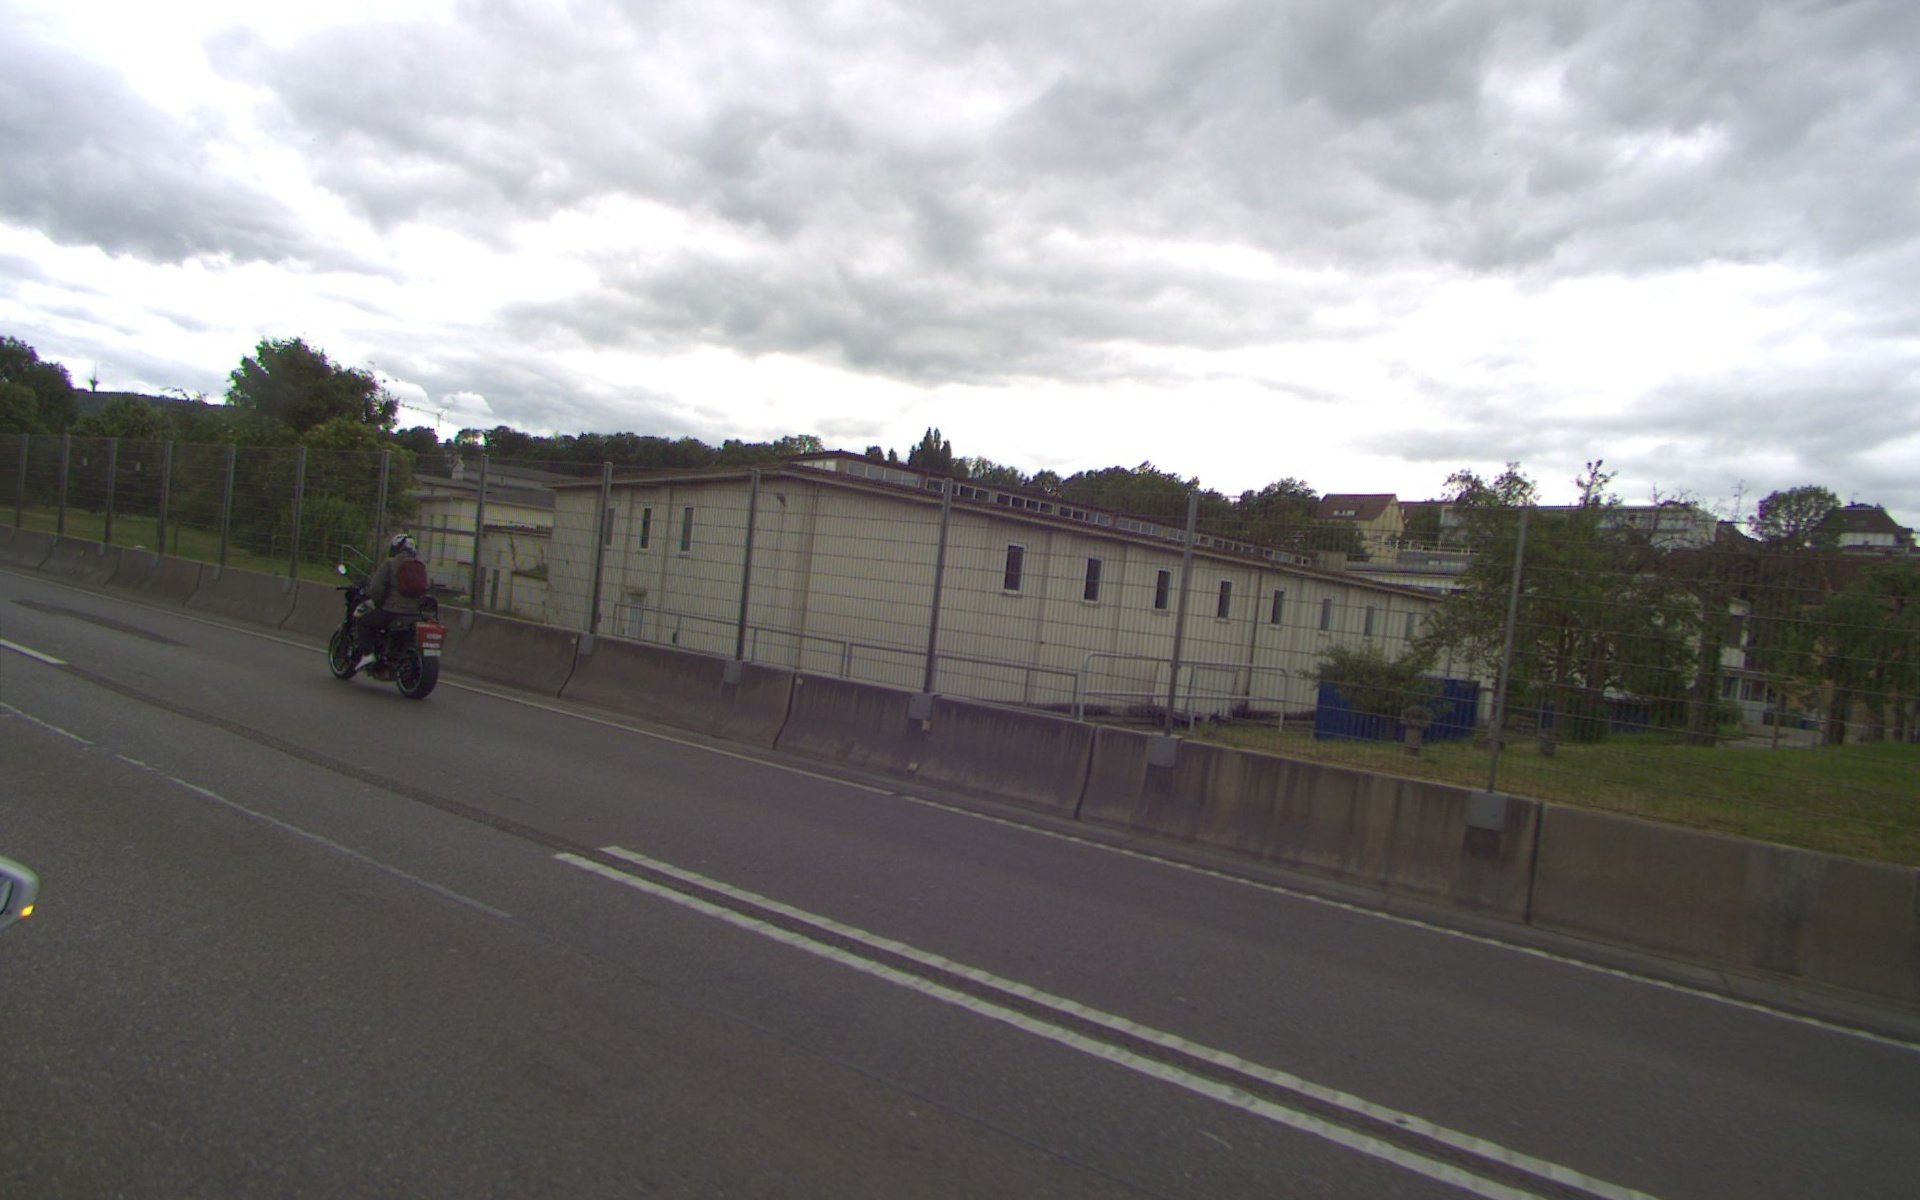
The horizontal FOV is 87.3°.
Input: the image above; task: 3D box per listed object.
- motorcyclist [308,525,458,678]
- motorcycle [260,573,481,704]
[{"bbox_3d":[-6.216,0.030,10.857,0.950,1.495,0.914,7,0,27],"label":"motorcyclist"},{"bbox_3d":[-6.457,0.388,10.971,2.618,1.097,0.745,6,1,28],"label":"motorcycle"}]
